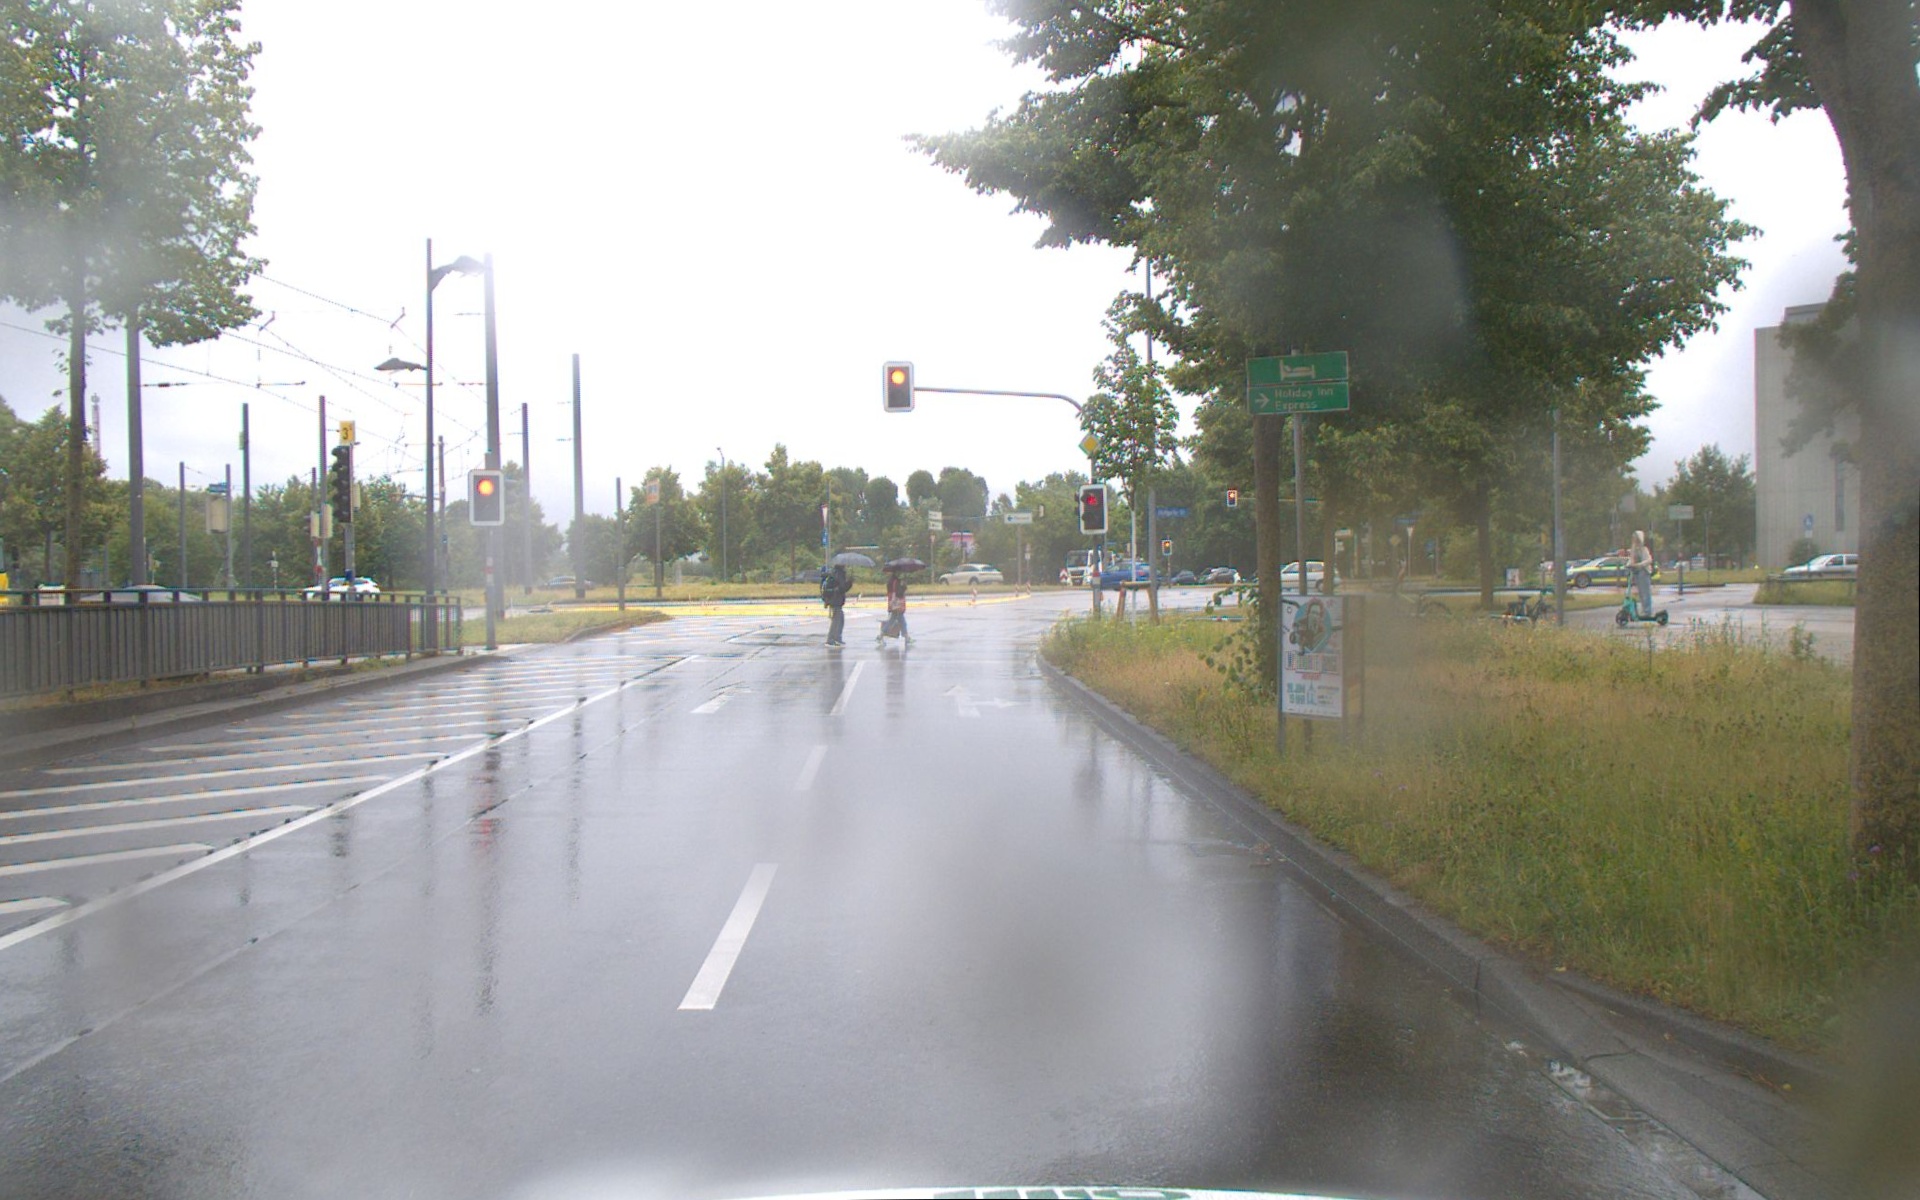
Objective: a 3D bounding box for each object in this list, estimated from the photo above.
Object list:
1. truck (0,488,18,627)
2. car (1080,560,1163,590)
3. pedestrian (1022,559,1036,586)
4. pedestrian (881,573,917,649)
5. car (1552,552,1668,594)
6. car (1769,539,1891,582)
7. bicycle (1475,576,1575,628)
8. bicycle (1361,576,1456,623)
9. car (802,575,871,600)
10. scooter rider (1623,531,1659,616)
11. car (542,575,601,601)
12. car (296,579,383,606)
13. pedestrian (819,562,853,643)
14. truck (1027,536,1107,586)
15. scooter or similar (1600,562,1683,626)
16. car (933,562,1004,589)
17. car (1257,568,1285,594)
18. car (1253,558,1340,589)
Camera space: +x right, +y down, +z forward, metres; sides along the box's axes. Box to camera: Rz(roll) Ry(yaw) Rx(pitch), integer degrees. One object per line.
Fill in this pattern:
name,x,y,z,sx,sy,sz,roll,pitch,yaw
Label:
truck,-30.123,-1.278,48.436,2.672,3.843,9.046,1,0,-41
car,8.158,-1.251,83.616,3.907,1.479,1.617,0,1,36
pedestrian,3.327,-1.320,79.621,0.445,1.327,0.484,0,1,38
pedestrian,-1.226,0.224,33.211,0.667,1.486,0.573,-2,0,-5
car,30.496,-1.280,77.727,4.663,1.883,2.000,-1,1,0
car,41.145,-1.867,78.283,4.659,1.883,2.001,2,0,7
bicycle,9.201,0.020,27.007,0.445,0.800,1.999,1,0,-17
bicycle,8.041,-0.018,29.721,0.376,0.800,1.837,1,0,-34
car,-7.644,-0.754,102.459,3.892,1.479,1.624,0,1,20
scooter rider,14.127,-0.542,34.316,0.521,1.739,0.433,-1,1,-7
car,-25.242,-0.772,107.596,3.401,1.570,1.622,1,0,-2
car,-36.160,-0.454,96.490,4.560,1.479,1.607,-1,1,-31
pedestrian,-2.400,0.039,32.062,0.608,1.549,0.741,1,1,-2
truck,6.499,-2.288,99.226,2.411,2.733,8.058,1,0,22
scooter or similar,14.146,-0.131,34.326,1.555,1.281,0.447,1,0,-7
car,0.484,-1.394,94.902,4.038,1.479,1.614,0,2,41
car,18.191,-1.108,96.676,1.583,1.479,3.991,0,1,11
car,16.253,-1.283,79.915,3.893,1.479,1.623,0,1,22
